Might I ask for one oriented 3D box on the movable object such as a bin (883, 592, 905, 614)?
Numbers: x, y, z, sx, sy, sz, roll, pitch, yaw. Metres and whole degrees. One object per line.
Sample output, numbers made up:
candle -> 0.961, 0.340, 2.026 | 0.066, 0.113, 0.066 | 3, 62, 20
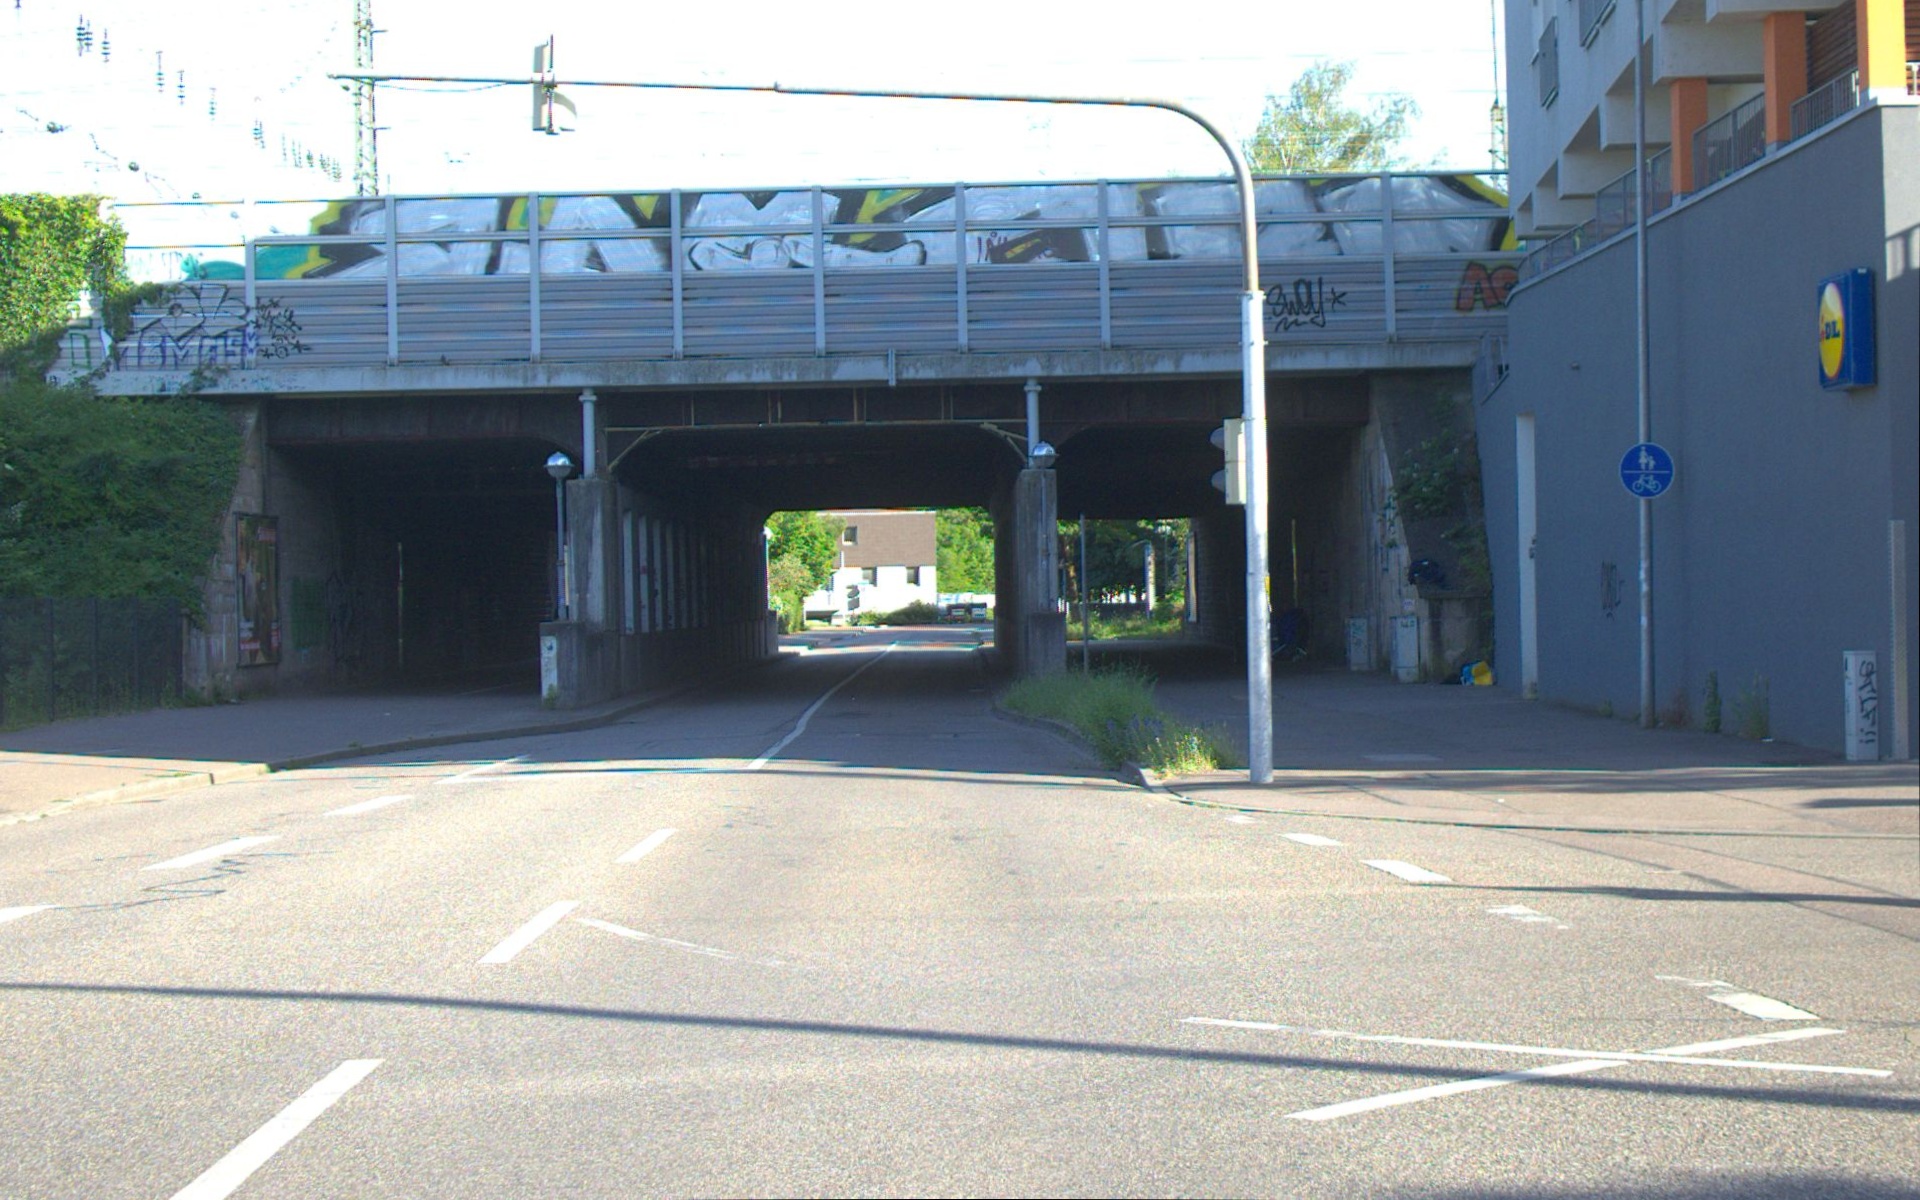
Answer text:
movable object such as a bin -> -4.478, 0.194, 232.357 | 1.364, 1.413, 1.066 | 1, -1, -7

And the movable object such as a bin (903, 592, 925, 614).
movable object such as a bin -> -3.087, 0.222, 232.541 | 1.364, 1.413, 1.066 | 1, -1, -7
